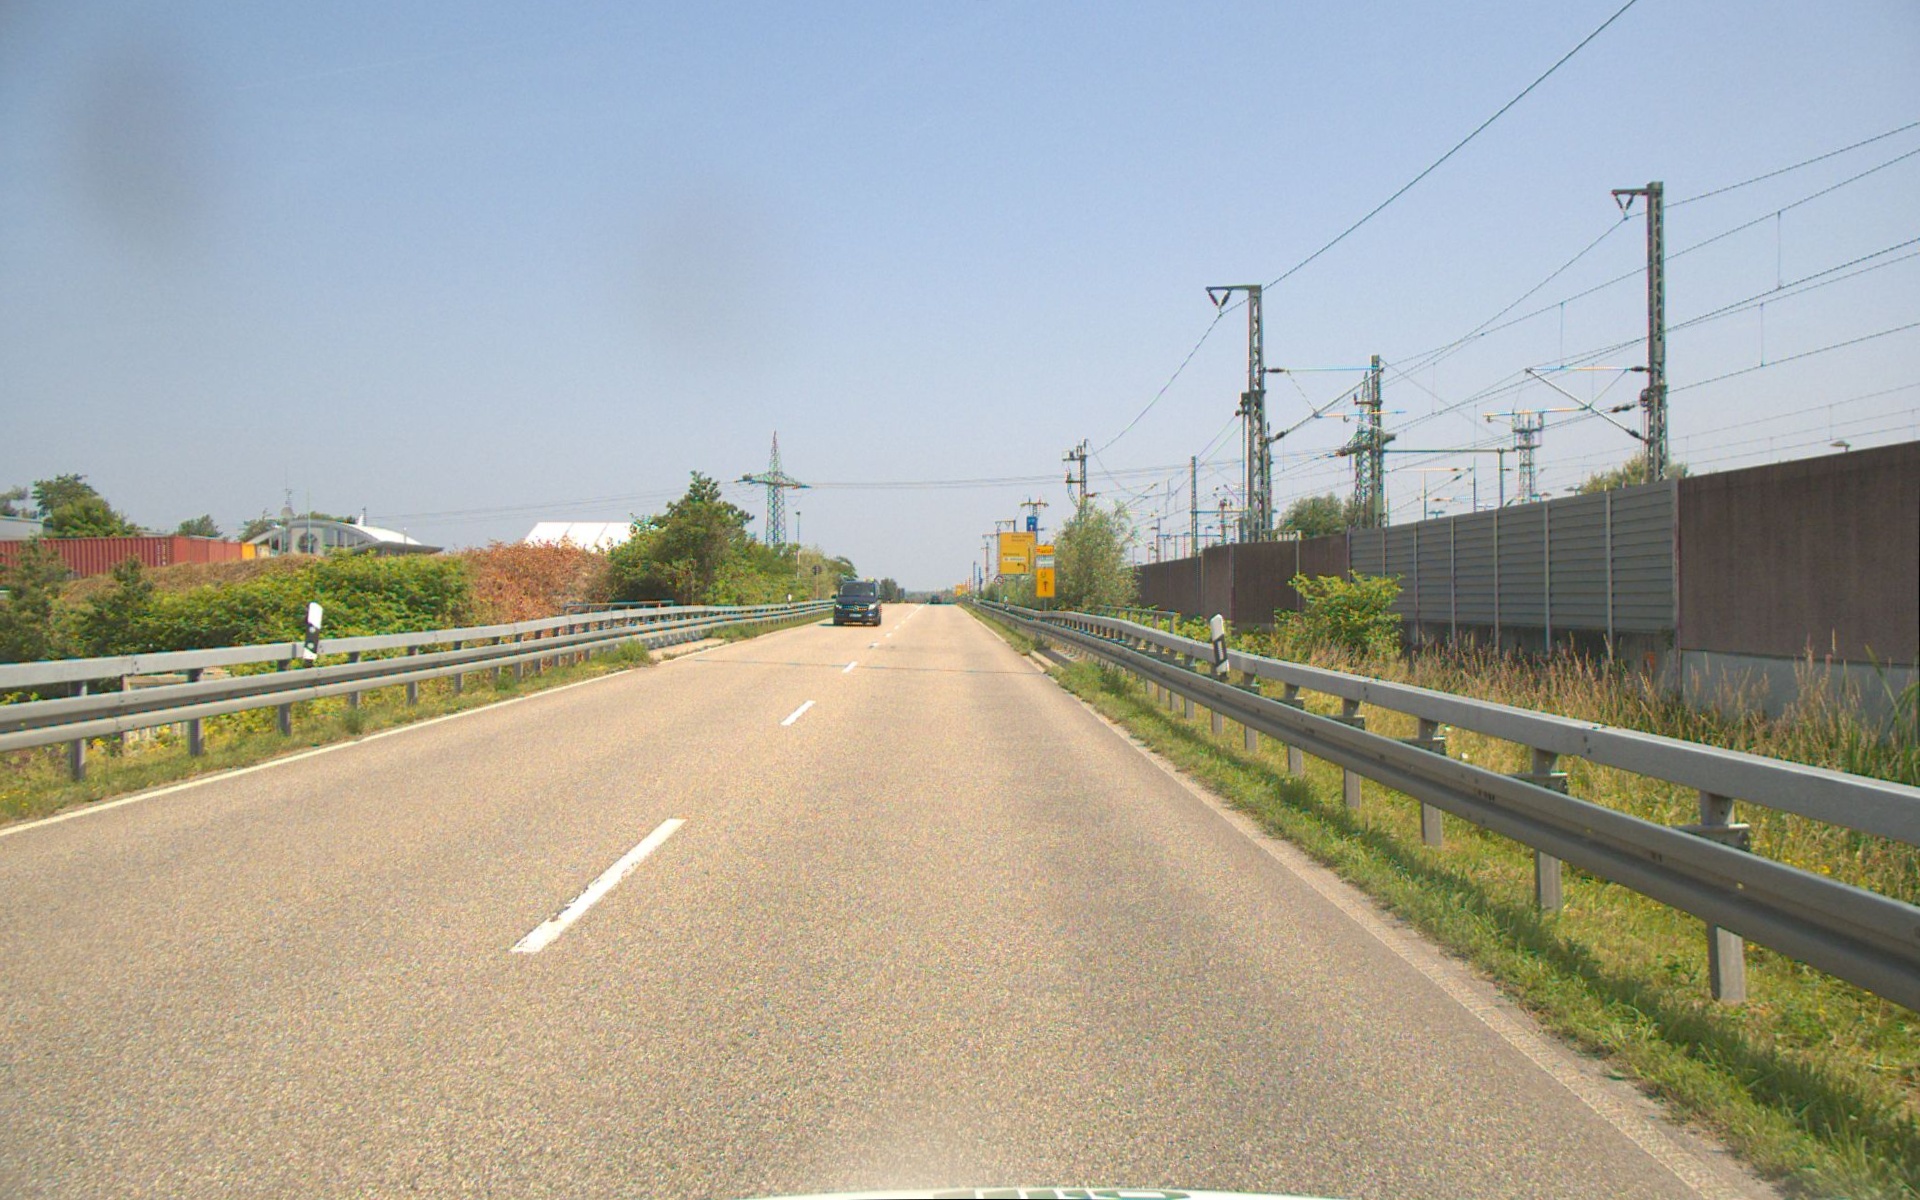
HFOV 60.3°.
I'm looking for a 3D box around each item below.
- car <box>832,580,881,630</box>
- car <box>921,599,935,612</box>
[{"bbox_3d":[-4.401,0.195,70.853,1.854,2.049,5.368,1,0,-1],"label":"car"},{"bbox_3d":[-4.984,0.878,258.118,1.954,2.049,3.996,1,0,-5],"label":"car"}]
